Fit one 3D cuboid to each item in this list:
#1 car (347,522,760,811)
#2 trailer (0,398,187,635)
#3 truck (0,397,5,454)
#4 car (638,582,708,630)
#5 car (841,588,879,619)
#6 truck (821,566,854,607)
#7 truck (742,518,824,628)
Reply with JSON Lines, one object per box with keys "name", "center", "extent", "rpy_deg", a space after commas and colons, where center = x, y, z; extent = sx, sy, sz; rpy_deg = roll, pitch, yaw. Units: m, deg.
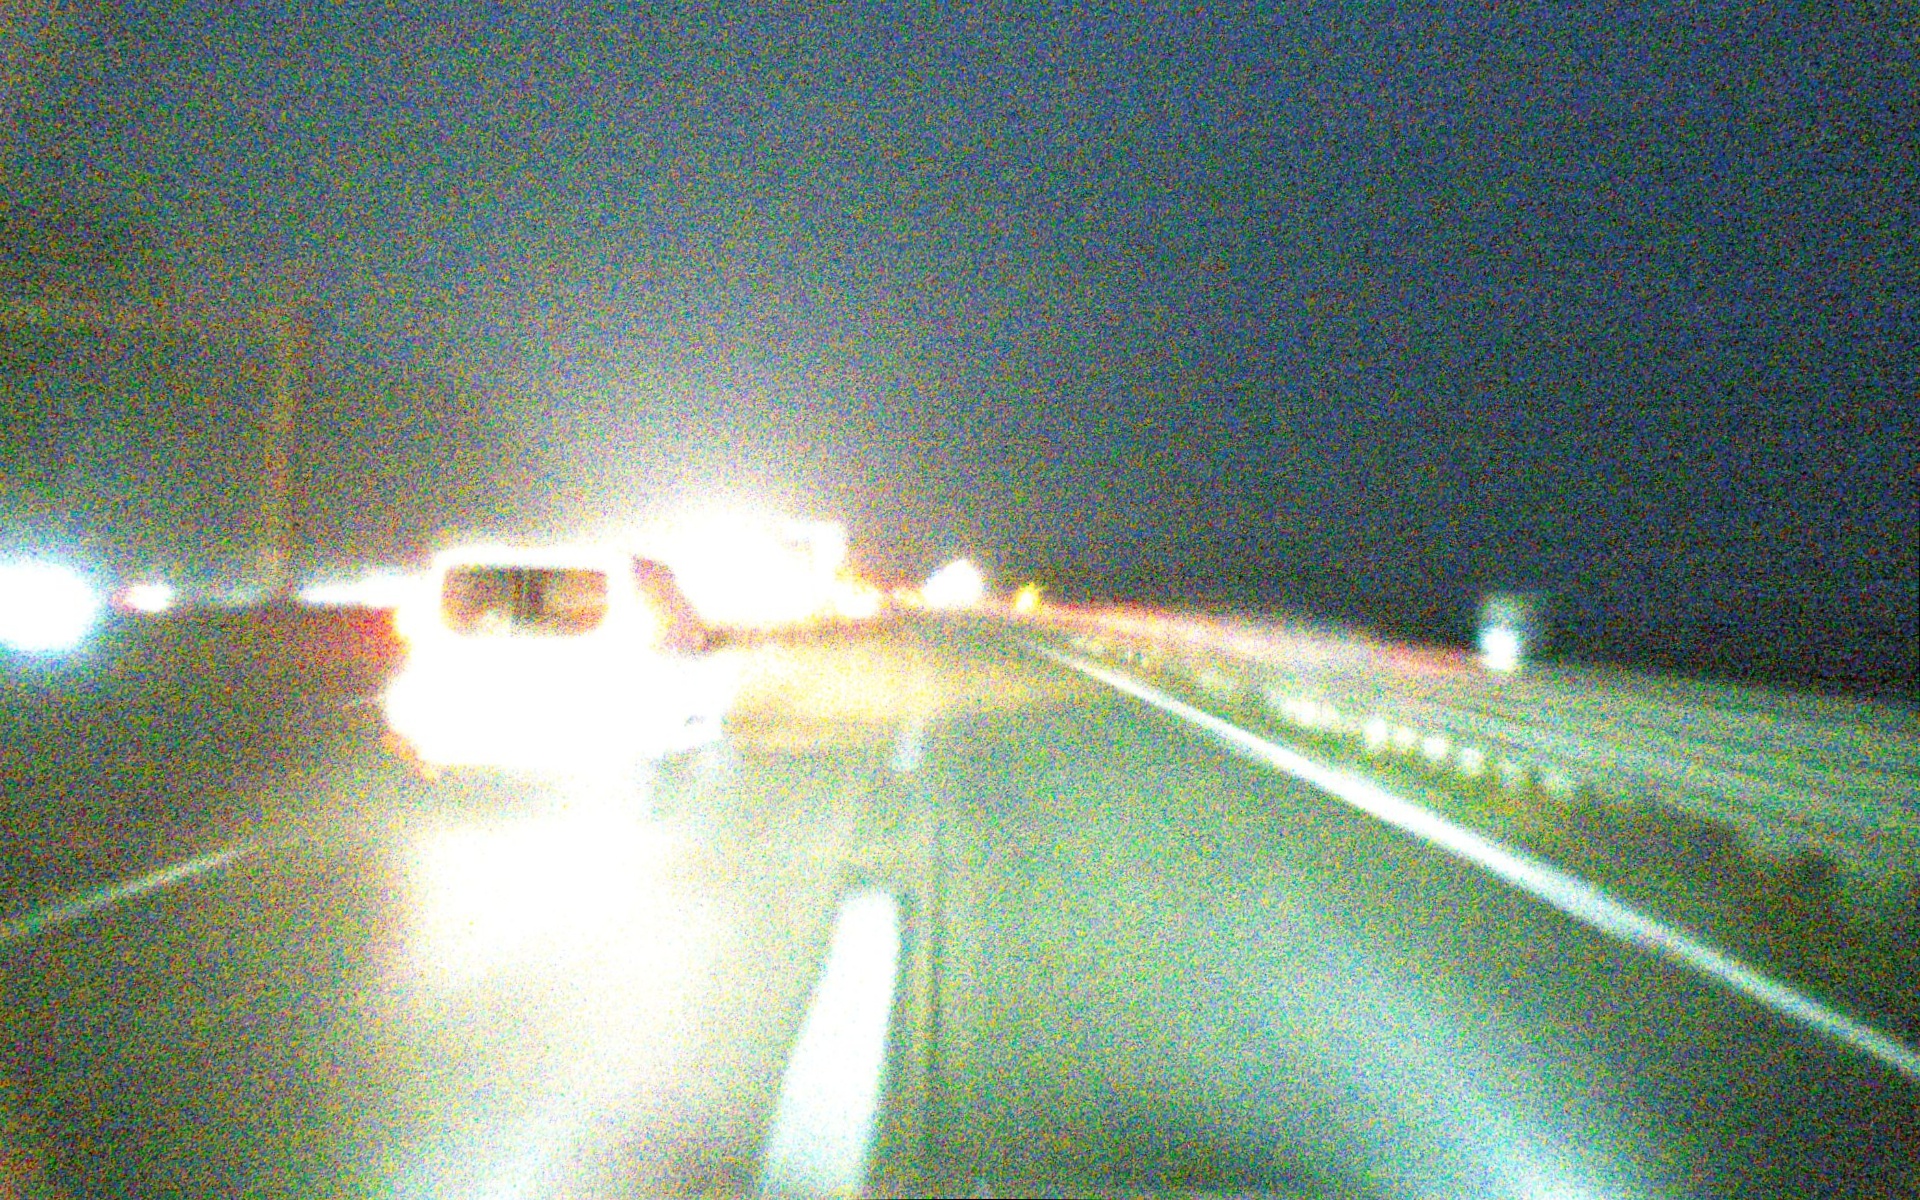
{"name": "car", "center": [-2.938, 0.427, 13.249], "extent": [1.913, 1.823, 5.125], "rpy_deg": [1, 0, 1]}
{"name": "trailer", "center": [-27.055, -2.335, 46.830], "extent": [3.393, 6.233, 14.404], "rpy_deg": [5, 0, -1]}
{"name": "truck", "center": [-26.908, -2.326, 40.191], "extent": [3.393, 6.233, 6.170], "rpy_deg": [5, 0, -2]}
{"name": "car", "center": [-10.957, 0.227, 63.362], "extent": [1.953, 1.736, 4.195], "rpy_deg": [1, 0, -1]}
{"name": "car", "center": [-5.791, 0.181, 95.585], "extent": [1.955, 1.736, 4.190], "rpy_deg": [1, 0, -6]}
{"name": "truck", "center": [-15.876, -1.752, 213.896], "extent": [3.750, 5.001, 11.592], "rpy_deg": [2, 0, -6]}
{"name": "truck", "center": [-9.849, -1.404, 92.634], "extent": [4.087, 5.641, 13.058], "rpy_deg": [1, 0, -6]}
